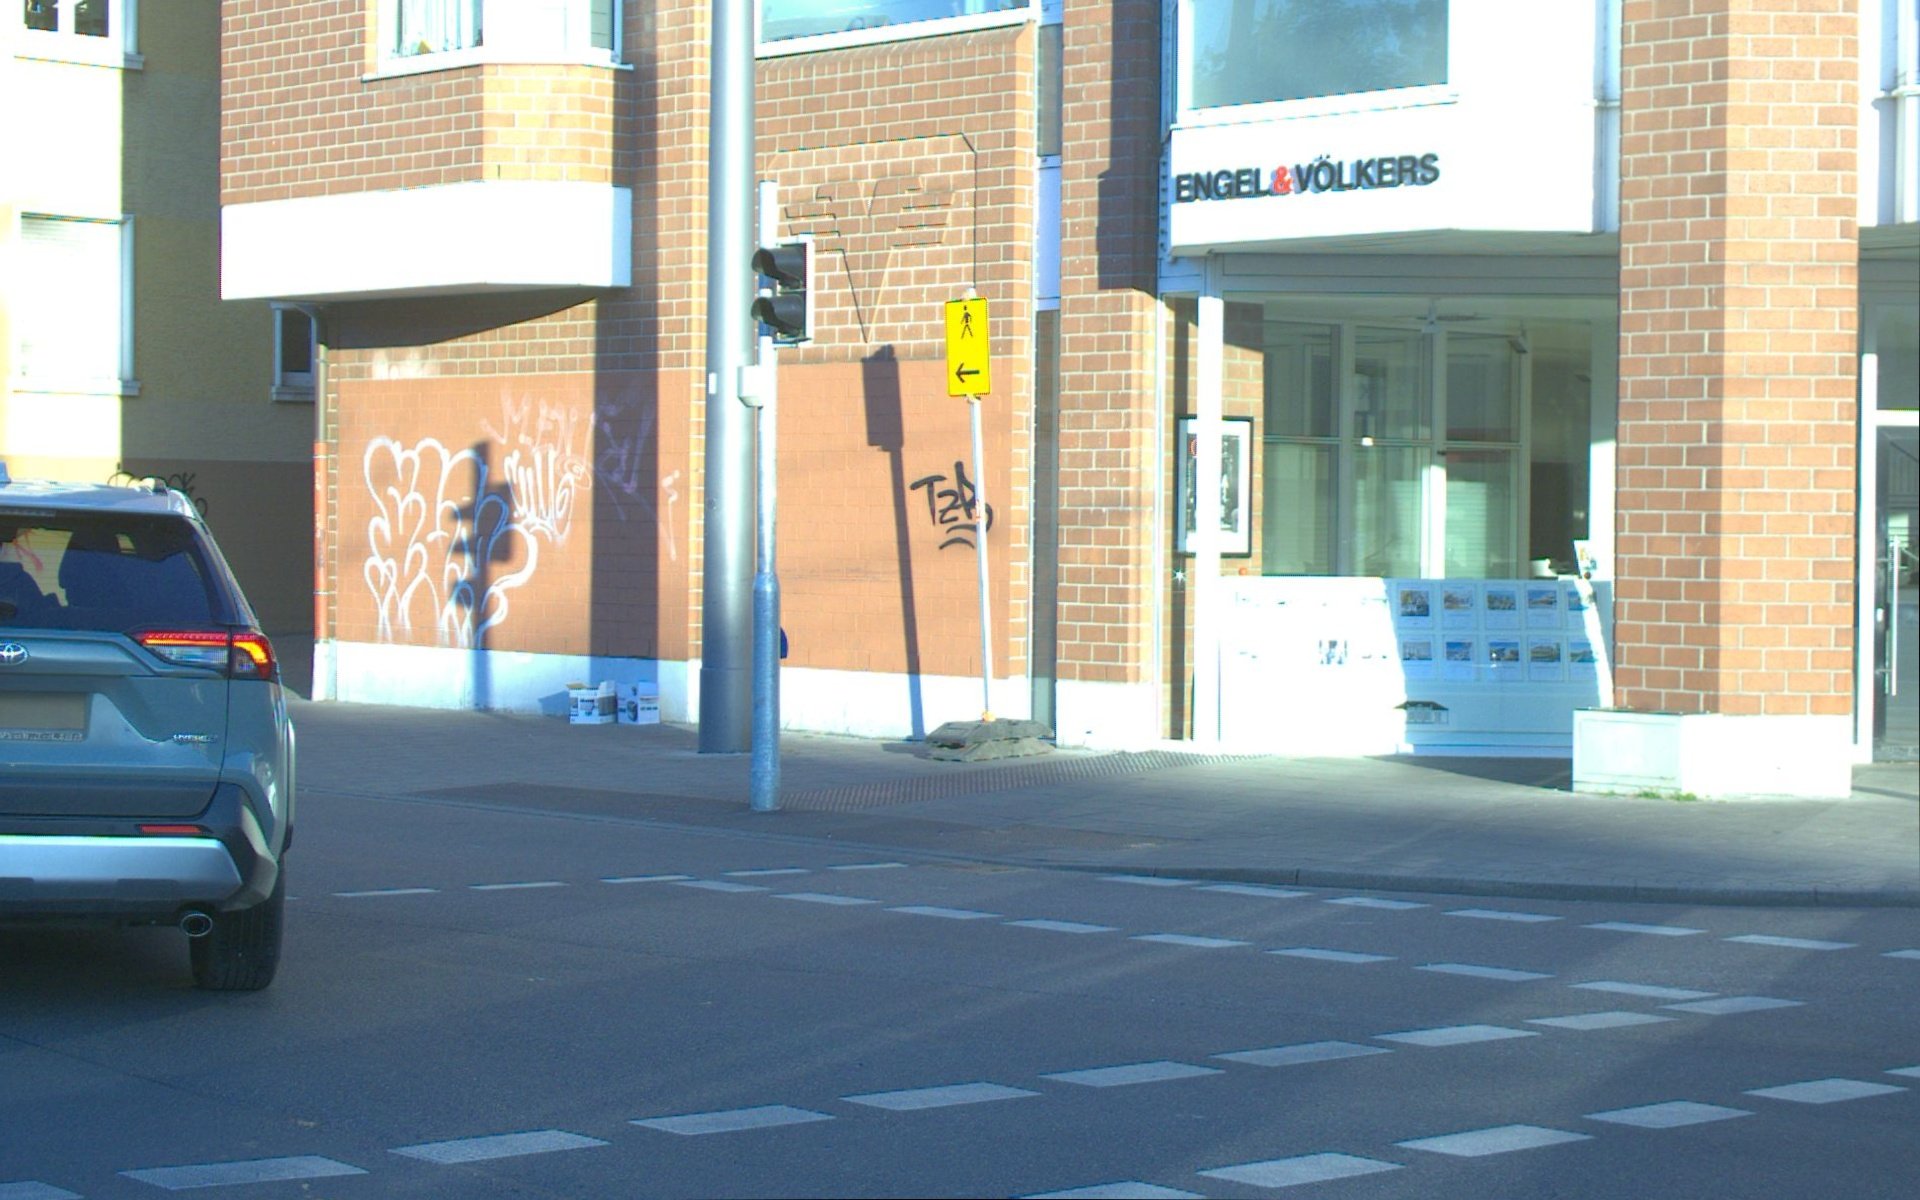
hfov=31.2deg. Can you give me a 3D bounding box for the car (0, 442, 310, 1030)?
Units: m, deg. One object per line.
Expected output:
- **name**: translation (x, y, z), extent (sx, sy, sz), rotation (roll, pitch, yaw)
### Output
- **car**: translation (-3.524, 0.363, 11.937), extent (1.857, 1.708, 4.194), rotation (1, 0, -19)
